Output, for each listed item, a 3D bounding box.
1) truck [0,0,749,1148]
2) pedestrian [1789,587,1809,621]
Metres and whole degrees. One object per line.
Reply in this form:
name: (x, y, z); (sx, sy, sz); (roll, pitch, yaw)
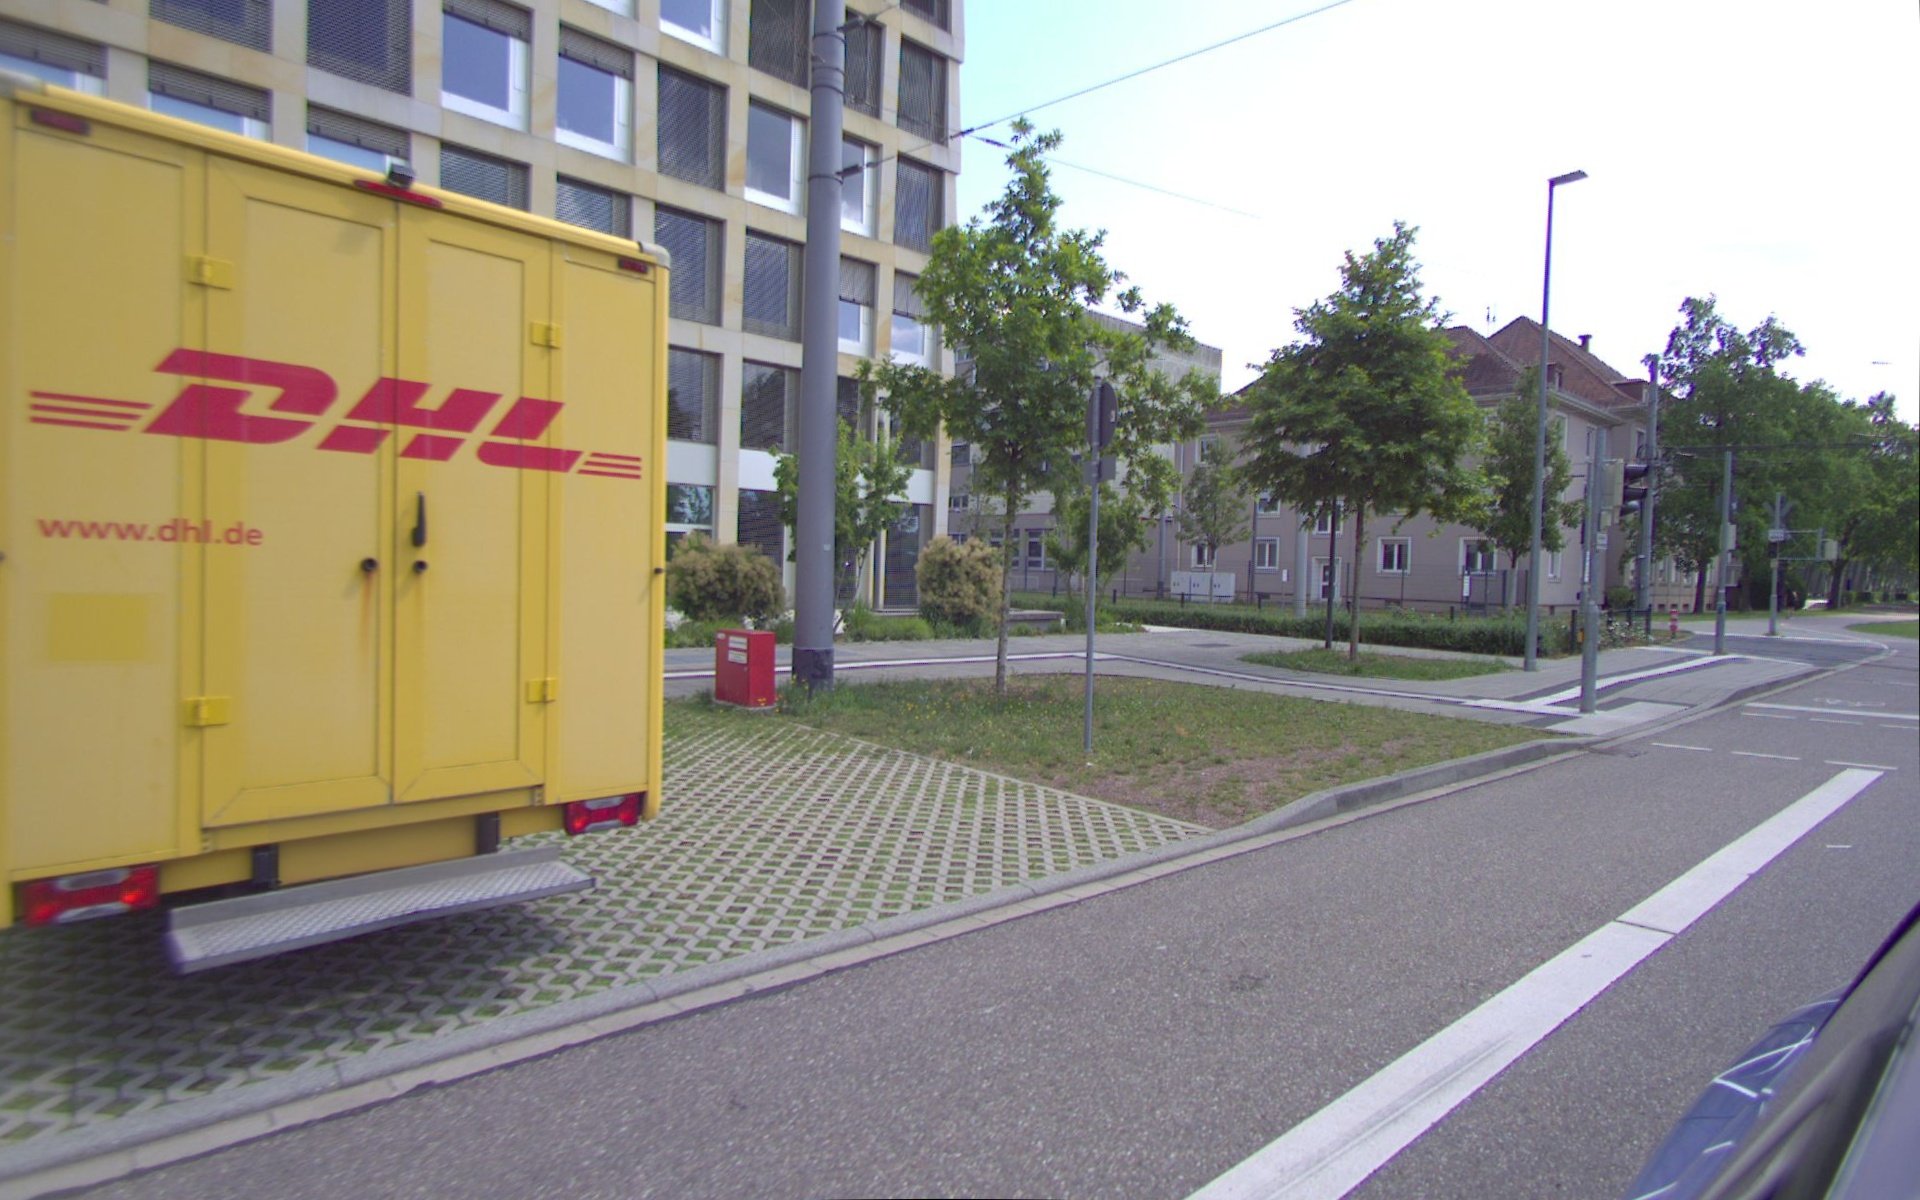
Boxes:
truck: (-4.043, -0.271, 5.583); (2.414, 2.902, 6.815); (0, 3, -43)
pedestrian: (41.662, 0.210, 50.238); (0.614, 1.627, 0.623); (0, 4, -45)
